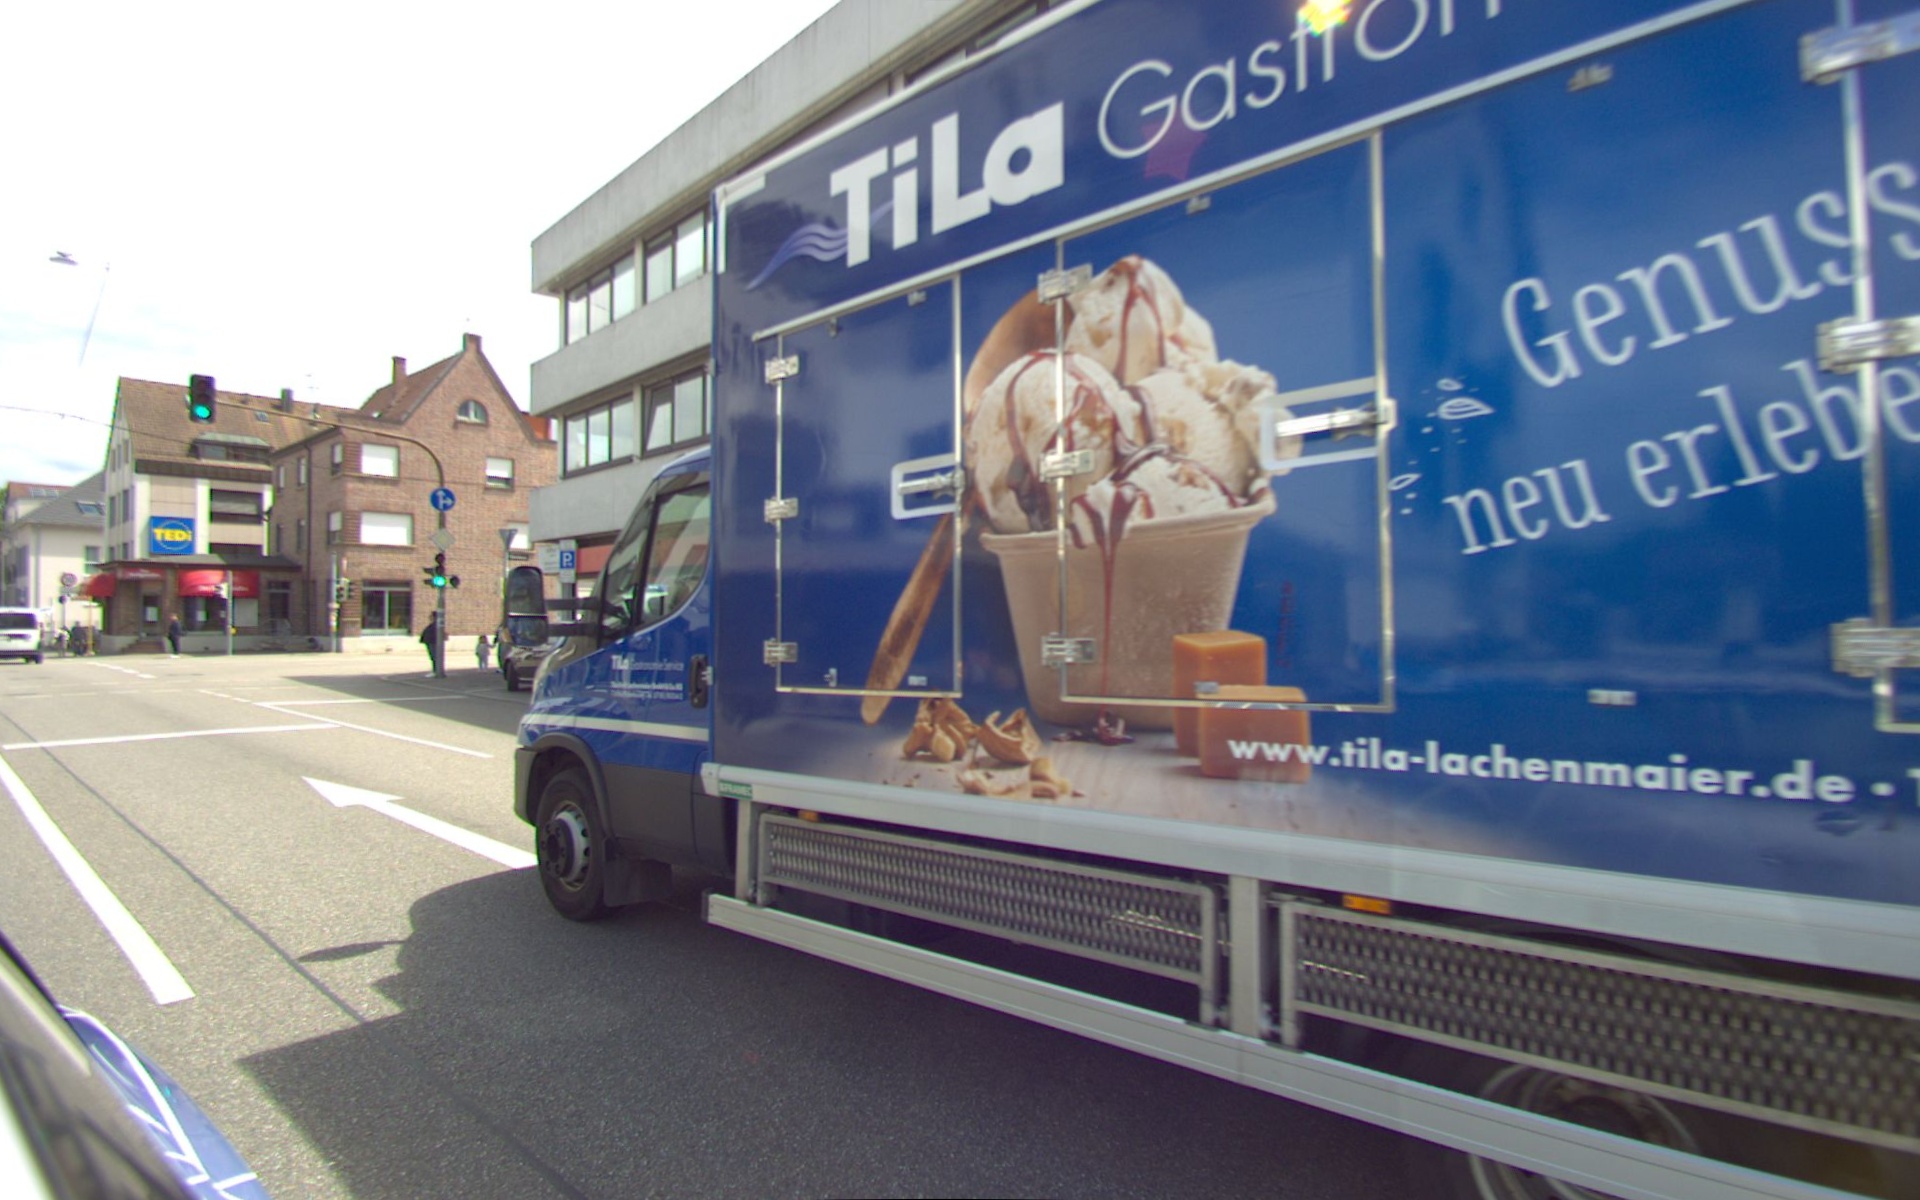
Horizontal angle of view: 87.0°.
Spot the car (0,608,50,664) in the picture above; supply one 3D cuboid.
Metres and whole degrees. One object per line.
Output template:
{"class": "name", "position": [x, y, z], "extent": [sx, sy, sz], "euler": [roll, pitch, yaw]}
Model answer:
{"class": "car", "position": [-32.693, 1.214, 34.629], "extent": [4.278, 1.835, 1.924], "euler": [-1, -2, 43]}

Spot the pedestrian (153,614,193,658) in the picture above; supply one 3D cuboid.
{"class": "pedestrian", "position": [-31.405, 1.421, 40.377], "extent": [0.839, 1.736, 0.906], "euler": [0, -2, 1]}

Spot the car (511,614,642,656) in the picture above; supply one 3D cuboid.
{"class": "car", "position": [-17.350, 1.600, 45.987], "extent": [5.182, 1.782, 2.001], "euler": [2, -3, -44]}

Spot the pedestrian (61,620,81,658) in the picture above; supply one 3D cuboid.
{"class": "pedestrian", "position": [-41.896, 1.835, 47.703], "extent": [0.673, 1.729, 0.878], "euler": [2, -2, -41]}

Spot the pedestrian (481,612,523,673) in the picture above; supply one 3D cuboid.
{"class": "pedestrian", "position": [-12.181, 1.110, 26.921], "extent": [0.809, 1.566, 0.847], "euler": [-1, -1, -41]}

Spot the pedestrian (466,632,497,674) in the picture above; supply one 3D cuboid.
{"class": "pedestrian", "position": [-12.606, 1.386, 26.661], "extent": [0.552, 1.065, 0.663], "euler": [-1, -1, -41]}

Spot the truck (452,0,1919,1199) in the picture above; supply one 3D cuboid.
{"class": "truck", "position": [1.170, -0.117, 3.748], "extent": [8.089, 3.116, 2.822], "euler": [-1, -2, 43]}

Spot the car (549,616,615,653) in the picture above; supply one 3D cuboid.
{"class": "car", "position": [-20.177, 1.824, 53.987], "extent": [3.702, 1.877, 1.844], "euler": [-1, -2, 43]}

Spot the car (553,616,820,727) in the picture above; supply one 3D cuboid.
{"class": "car", "position": [-4.516, 1.020, 16.173], "extent": [2.020, 1.455, 4.956], "euler": [0, -1, -43]}

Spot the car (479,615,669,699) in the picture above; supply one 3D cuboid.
{"class": "car", "position": [-7.907, 1.083, 20.514], "extent": [4.287, 1.486, 2.021], "euler": [-1, -1, 45]}

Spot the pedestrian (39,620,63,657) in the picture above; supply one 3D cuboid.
{"class": "pedestrian", "position": [-42.460, 1.800, 47.264], "extent": [0.767, 1.708, 0.797], "euler": [2, -2, -41]}

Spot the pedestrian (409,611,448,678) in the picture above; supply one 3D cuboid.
{"class": "pedestrian", "position": [-13.397, 1.109, 25.497], "extent": [0.709, 1.657, 0.682], "euler": [0, -1, -42]}
